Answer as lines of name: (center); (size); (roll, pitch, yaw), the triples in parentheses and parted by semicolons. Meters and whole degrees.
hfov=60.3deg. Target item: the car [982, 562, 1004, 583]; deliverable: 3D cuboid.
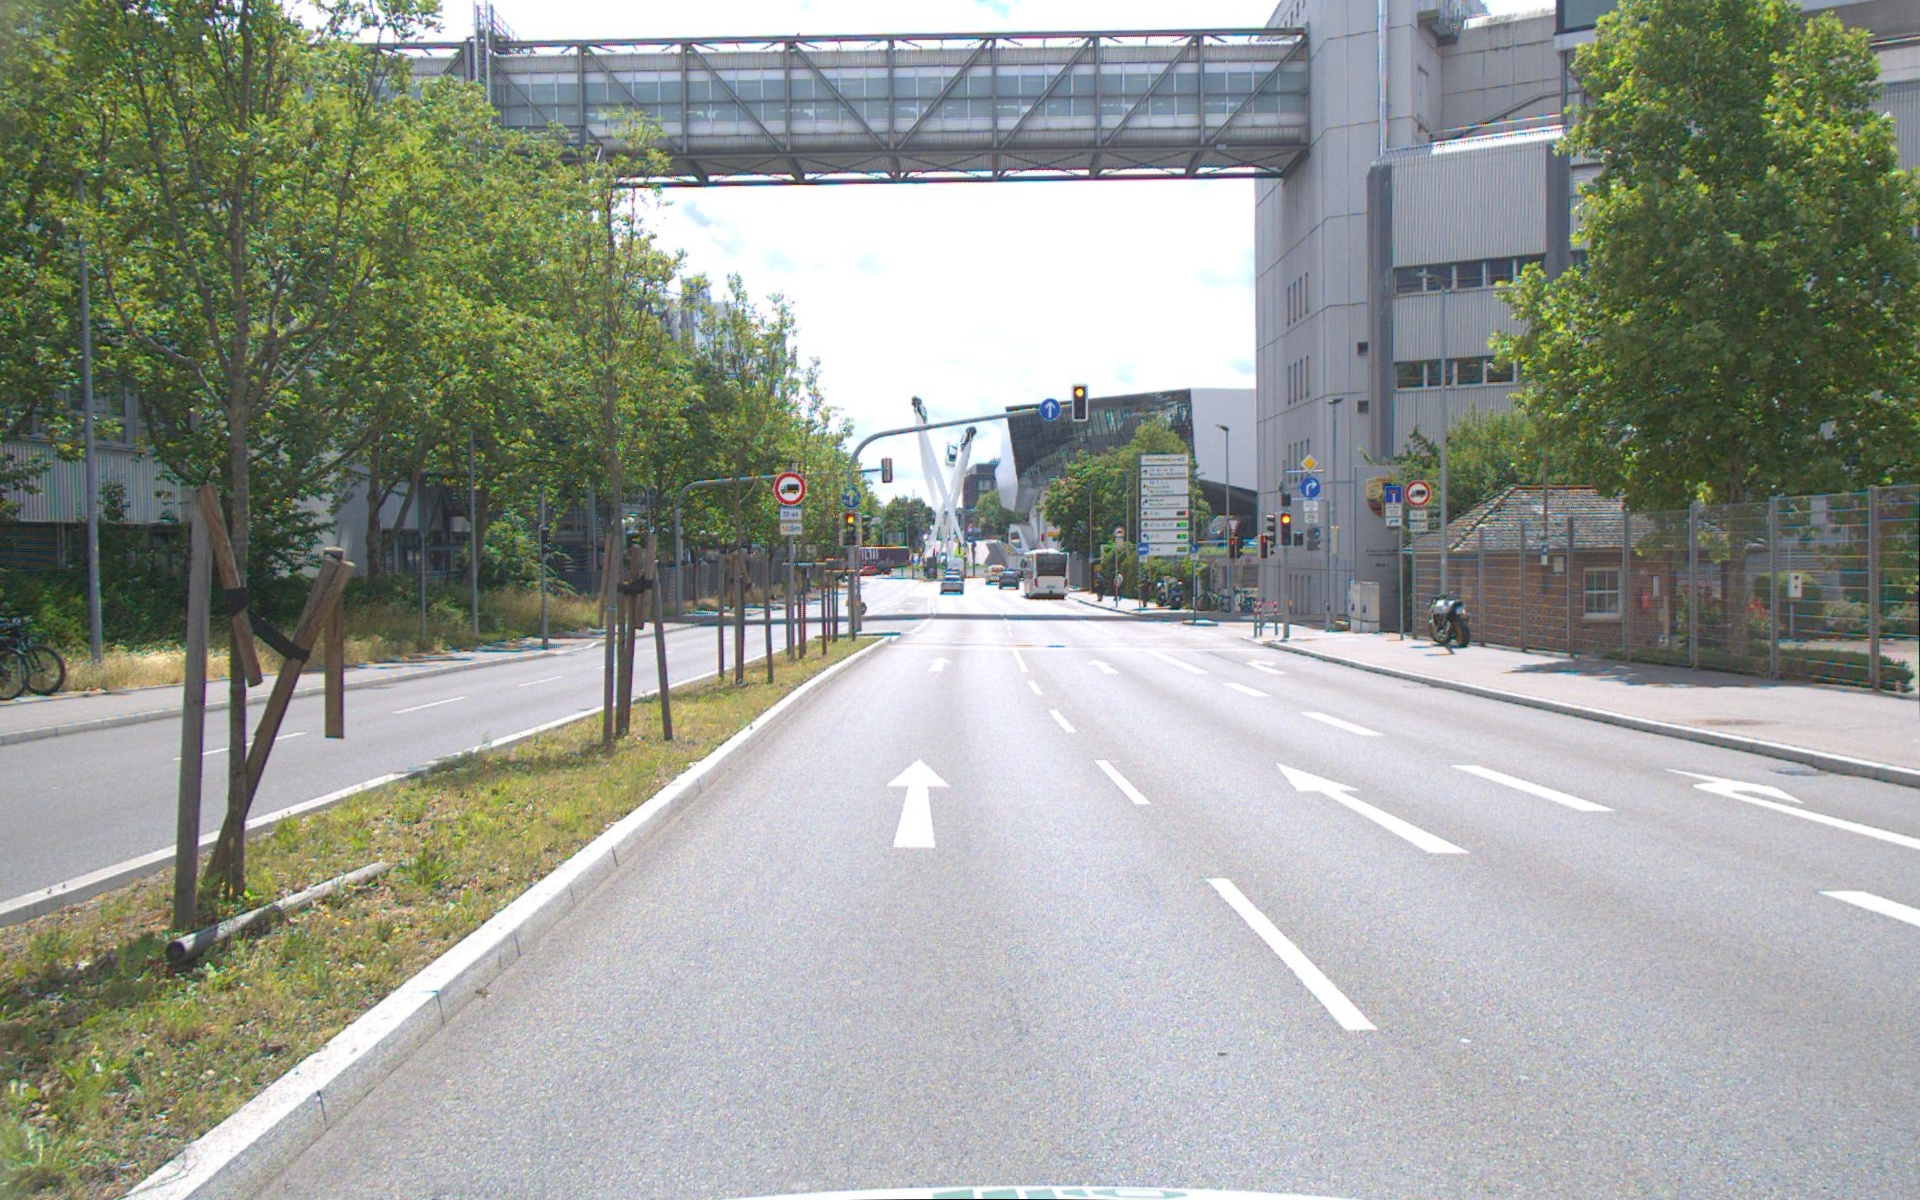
car: (3.555, -2.954, 177.676); (1.954, 2.049, 3.997); (1, -1, -4)

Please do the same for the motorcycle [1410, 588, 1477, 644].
motorcycle: (10.673, 0.327, 36.568); (0.679, 1.178, 2.146); (-2, 1, -4)

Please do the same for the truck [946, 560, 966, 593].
truck: (-0.487, -2.822, 199.138); (2.343, 3.965, 6.177); (0, 0, 0)

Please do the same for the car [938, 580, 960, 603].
car: (-0.838, -0.648, 129.077); (1.702, 1.772, 3.691); (0, 0, 0)

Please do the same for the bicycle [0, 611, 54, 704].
bicycle: (-14.032, 0.798, 23.193); (2.354, 1.280, 0.556); (0, 0, 1)

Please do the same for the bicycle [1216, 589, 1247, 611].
bicycle: (12.205, -0.012, 74.394); (0.392, 0.953, 1.913); (0, 1, -25)

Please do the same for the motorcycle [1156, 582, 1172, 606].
motorcycle: (10.907, -0.304, 88.472); (0.562, 1.224, 2.024); (-2, 1, 0)

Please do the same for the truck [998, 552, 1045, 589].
truck: (7.753, -3.633, 207.188); (3.380, 4.468, 9.425); (0, 1, 18)

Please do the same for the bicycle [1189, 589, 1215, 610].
bicycle: (11.218, -0.014, 76.688); (0.391, 0.953, 1.918); (0, 0, -18)

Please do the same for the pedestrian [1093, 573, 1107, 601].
pedestrian: (8.665, -0.831, 102.555); (0.803, 1.737, 0.881); (0, 0, 0)

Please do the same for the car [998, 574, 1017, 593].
car: (4.327, -1.499, 150.866); (1.702, 1.772, 3.691); (0, 0, 0)

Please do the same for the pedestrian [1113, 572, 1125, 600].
pedestrian: (9.770, -0.860, 101.641); (0.622, 1.772, 0.822); (0, 0, -4)

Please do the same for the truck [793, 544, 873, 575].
truck: (-19.883, -6.332, 259.271); (11.978, 4.400, 3.545); (1, -1, -26)

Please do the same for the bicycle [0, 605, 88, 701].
bicycle: (-14.000, 0.766, 24.295); (2.122, 1.387, 0.490); (0, 0, 1)

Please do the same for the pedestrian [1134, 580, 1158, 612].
pedestrian: (9.652, -0.201, 85.722); (0.835, 1.653, 0.951); (0, 0, 41)

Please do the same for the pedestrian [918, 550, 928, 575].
pedestrian: (-5.316, -5.360, 237.290); (1.387, 3.663, 1.283); (0, 0, -1)

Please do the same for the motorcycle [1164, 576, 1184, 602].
motorcycle: (10.407, -0.542, 80.469); (0.692, 1.224, 2.024); (-2, 1, 0)

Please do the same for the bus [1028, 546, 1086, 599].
bus: (6.840, -1.955, 118.467); (3.382, 3.605, 10.605); (0, 1, -1)
